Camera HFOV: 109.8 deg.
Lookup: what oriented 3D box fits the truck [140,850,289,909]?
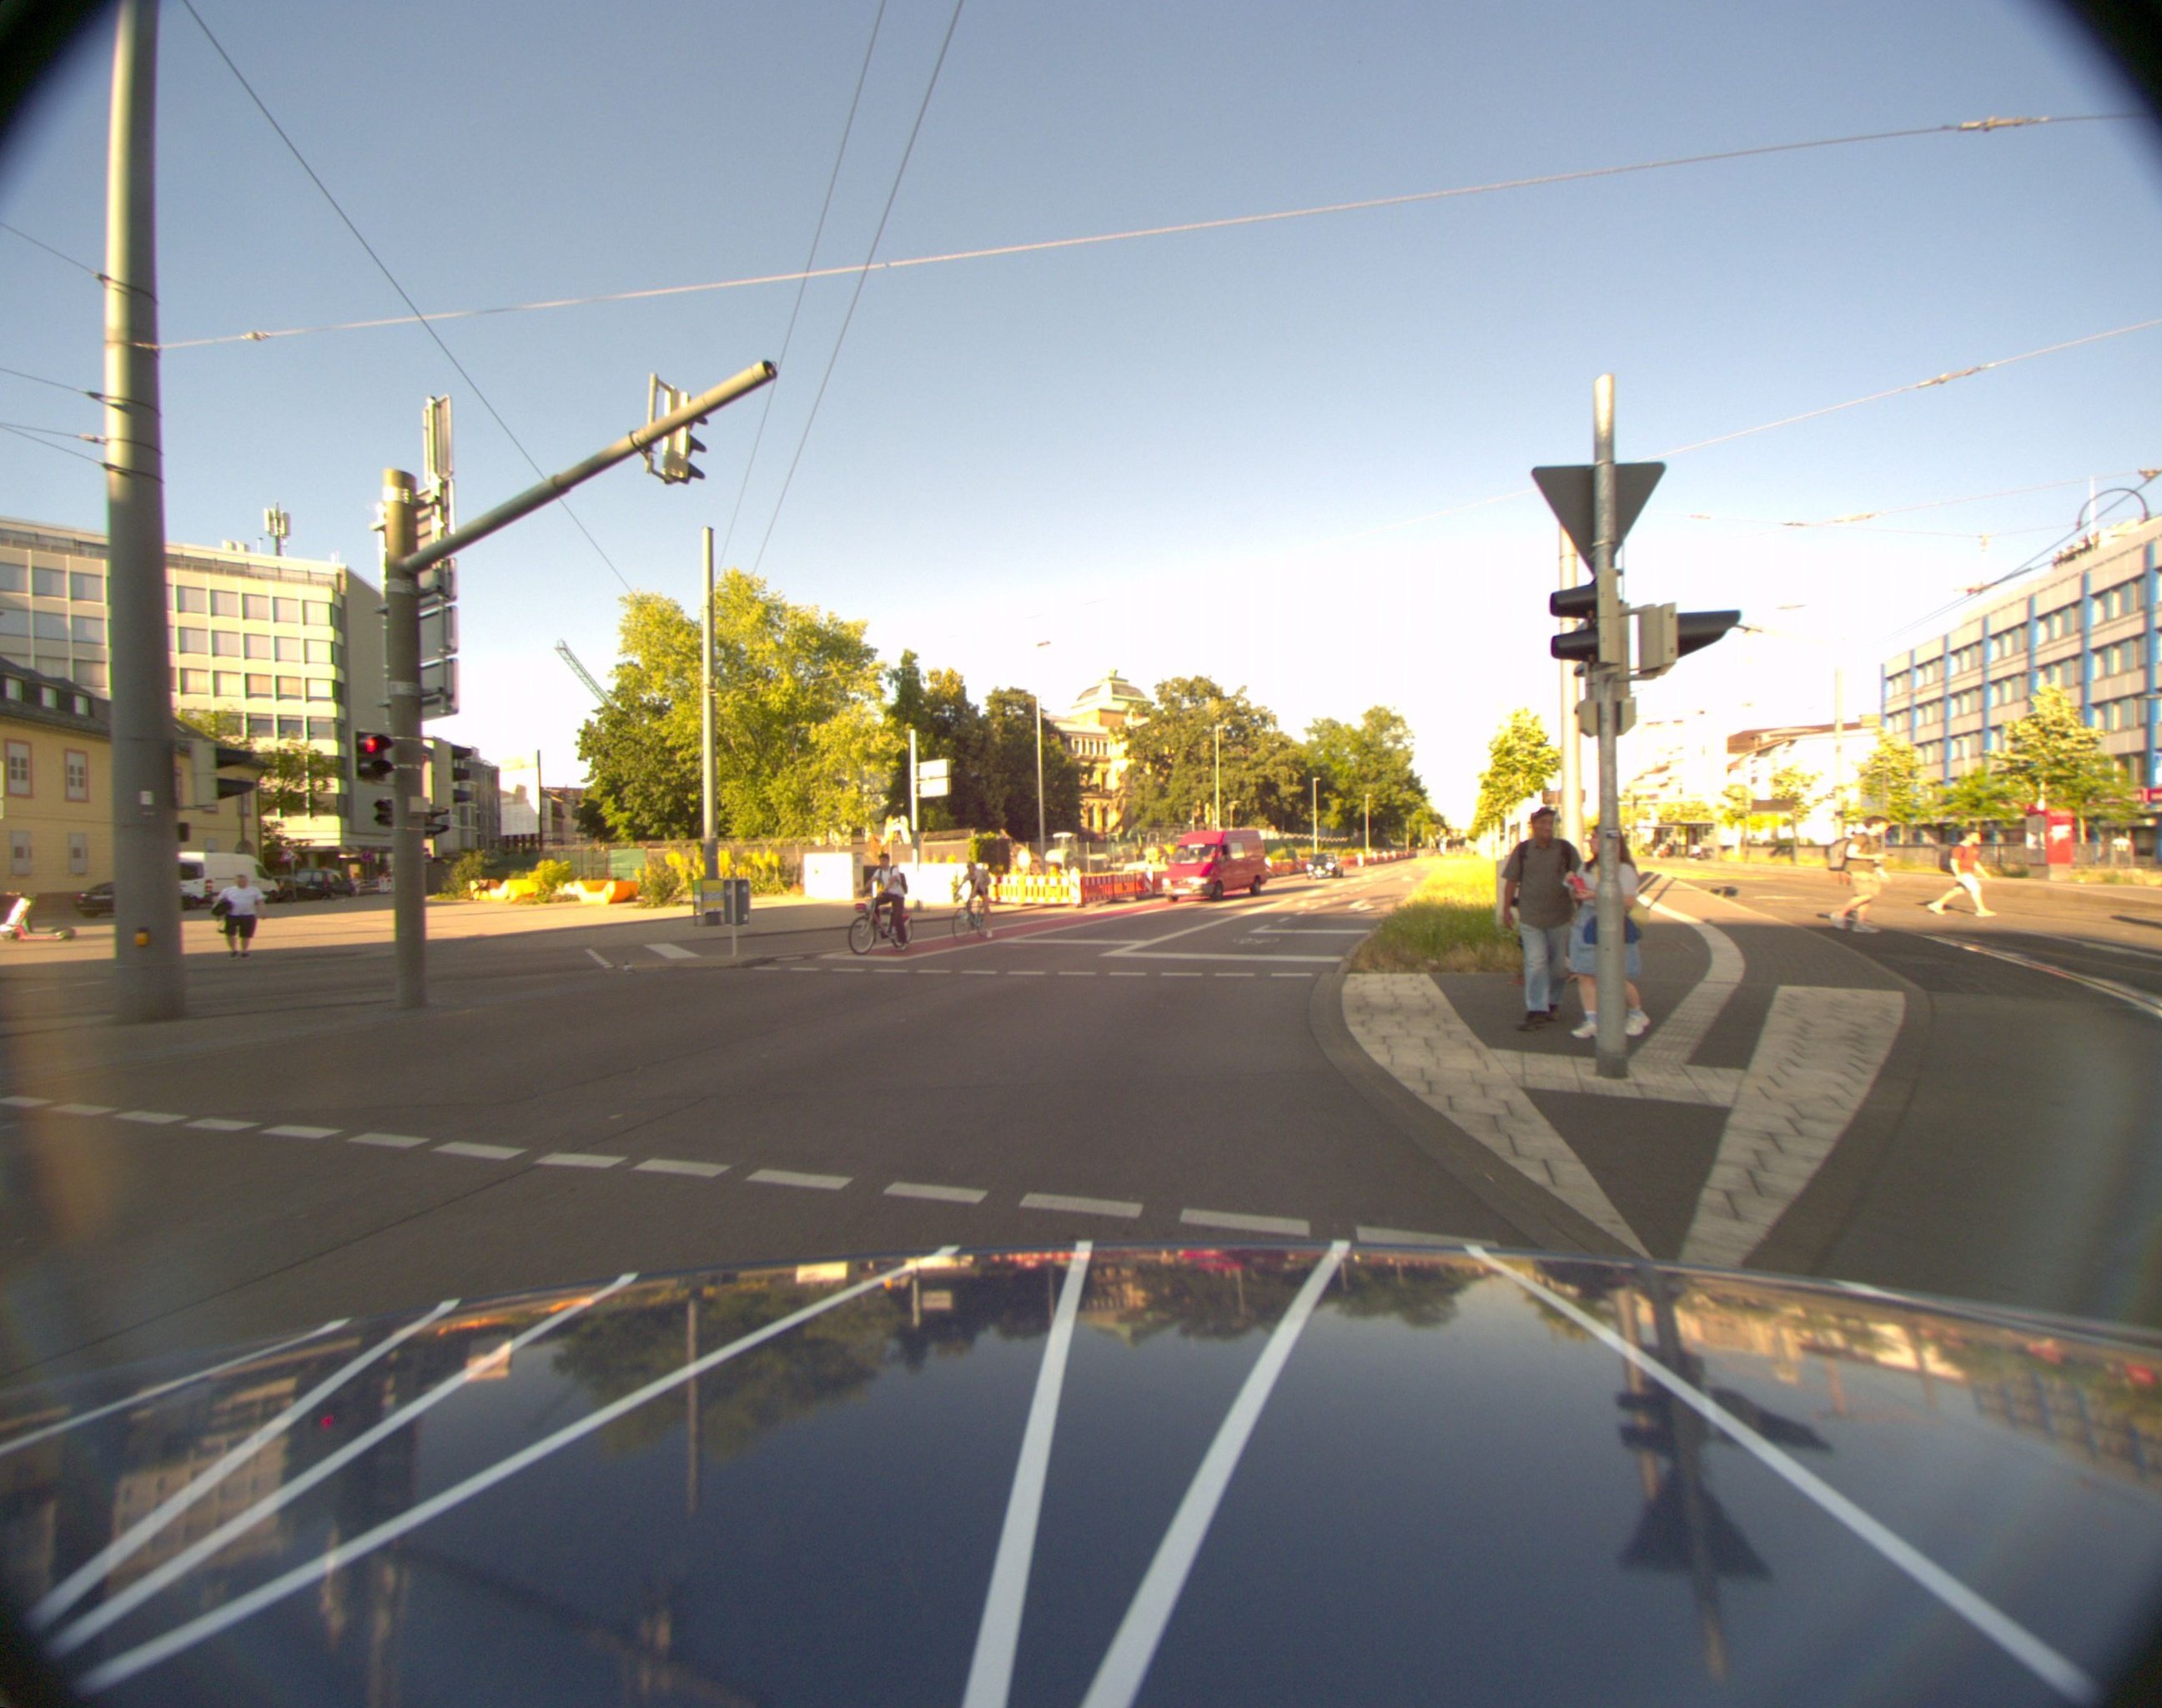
[{"bbox_3d":[-41.189,1.166,36.377,2.303,2.534,5.629,-3,0,-22],"label":"truck"}]

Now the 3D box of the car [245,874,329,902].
[{"bbox_3d":[-43.426,1.840,41.668,1.716,1.356,3.755,-3,0,-22],"label":"car"}]

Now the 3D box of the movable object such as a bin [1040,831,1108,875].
[{"bbox_3d":[-0.397,-0.111,49.259,1.995,2.668,5.022,-2,0,31],"label":"movable object such as a bin"}]

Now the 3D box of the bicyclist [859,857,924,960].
[{"bbox_3d":[-3.409,0.955,13.731,0.542,1.758,1.062,-2,0,22],"label":"bicyclist"}]

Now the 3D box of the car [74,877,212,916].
[{"bbox_3d":[-38.502,1.708,31.347,1.716,1.356,4.188,-3,0,-22],"label":"car"}]

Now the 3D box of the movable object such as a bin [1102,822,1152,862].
[{"bbox_3d":[4.099,-1.087,66.629,1.995,3.310,5.384,-2,0,31],"label":"movable object such as a bin"}]

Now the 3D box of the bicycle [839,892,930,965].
[{"bbox_3d":[-3.456,1.289,13.541,0.542,1.094,1.811,-2,0,22],"label":"bicycle"}]

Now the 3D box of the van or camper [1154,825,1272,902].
[{"bbox_3d":[5.006,0.287,27.910,1.995,2.514,5.925,-2,0,33],"label":"van or camper"}]

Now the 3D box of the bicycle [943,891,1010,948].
[{"bbox_3d":[-2.114,1.309,15.562,0.542,0.995,1.696,-2,0,22],"label":"bicycle"}]

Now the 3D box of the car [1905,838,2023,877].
[{"bbox_3d":[38.110,0.114,32.938,1.883,1.499,3.949,-2,0,26],"label":"car"}]

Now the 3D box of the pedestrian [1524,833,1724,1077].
[{"bbox_3d":[4.034,0.690,5.686,0.901,1.631,0.787,-3,0,-18],"label":"pedestrian"}]

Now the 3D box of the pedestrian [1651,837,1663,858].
[{"bbox_3d":[47.788,-0.571,63.049,0.658,1.682,0.773,-2,1,29],"label":"pedestrian"}]

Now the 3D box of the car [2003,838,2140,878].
[{"bbox_3d":[41.095,0.149,31.681,1.883,1.499,3.949,-2,0,26],"label":"car"}]

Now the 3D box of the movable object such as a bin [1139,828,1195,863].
[{"bbox_3d":[7.404,-0.758,64.795,1.995,2.800,5.878,-2,0,36],"label":"movable object such as a bin"}]

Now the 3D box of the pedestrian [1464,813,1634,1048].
[{"bbox_3d":[3.849,0.583,6.290,0.901,1.791,0.786,0,1,-19],"label":"pedestrian"}]

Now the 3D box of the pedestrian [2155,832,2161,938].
[{"bbox_3d":[16.123,0.461,10.823,0.787,1.539,0.620,3,-2,-1],"label":"pedestrian"}]

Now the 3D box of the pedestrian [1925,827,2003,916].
[{"bbox_3d":[17.226,0.342,14.844,0.786,1.689,0.620,-2,1,29],"label":"pedestrian"}]

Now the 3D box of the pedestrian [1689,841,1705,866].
[{"bbox_3d":[42.200,-0.058,52.040,0.658,1.682,0.773,-2,0,24],"label":"pedestrian"}]

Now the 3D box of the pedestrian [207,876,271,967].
[{"bbox_3d":[-17.190,1.351,15.509,1.005,1.752,0.762,-2,1,40],"label":"pedestrian"}]

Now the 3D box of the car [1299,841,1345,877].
[{"bbox_3d":[14.340,0.260,45.056,1.995,2.002,4.006,-2,0,26],"label":"car"}]

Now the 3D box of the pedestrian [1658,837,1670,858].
[{"bbox_3d":[46.790,-0.528,60.961,0.658,1.682,0.773,-2,1,32],"label":"pedestrian"}]

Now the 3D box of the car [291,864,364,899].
[{"bbox_3d":[-45.180,1.617,45.646,1.716,1.969,3.755,-3,0,-22],"label":"car"}]

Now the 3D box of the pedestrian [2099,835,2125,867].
[{"bbox_3d":[57.871,-0.165,42.653,0.644,1.735,0.600,-2,1,33],"label":"pedestrian"}]

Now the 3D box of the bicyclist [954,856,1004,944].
[{"bbox_3d":[-2.085,0.931,15.583,0.614,1.735,0.793,-2,0,22],"label":"bicyclist"}]

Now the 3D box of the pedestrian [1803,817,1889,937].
[{"bbox_3d":[12.209,0.365,12.154,0.786,1.853,0.620,-2,1,29],"label":"pedestrian"}]

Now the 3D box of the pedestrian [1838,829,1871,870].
[{"bbox_3d":[32.067,-0.191,31.515,0.786,1.663,0.620,-2,1,29],"label":"pedestrian"}]

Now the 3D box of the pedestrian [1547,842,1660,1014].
[{"bbox_3d":[5.224,0.711,7.640,0.786,1.631,0.620,-3,0,24],"label":"pedestrian"}]
